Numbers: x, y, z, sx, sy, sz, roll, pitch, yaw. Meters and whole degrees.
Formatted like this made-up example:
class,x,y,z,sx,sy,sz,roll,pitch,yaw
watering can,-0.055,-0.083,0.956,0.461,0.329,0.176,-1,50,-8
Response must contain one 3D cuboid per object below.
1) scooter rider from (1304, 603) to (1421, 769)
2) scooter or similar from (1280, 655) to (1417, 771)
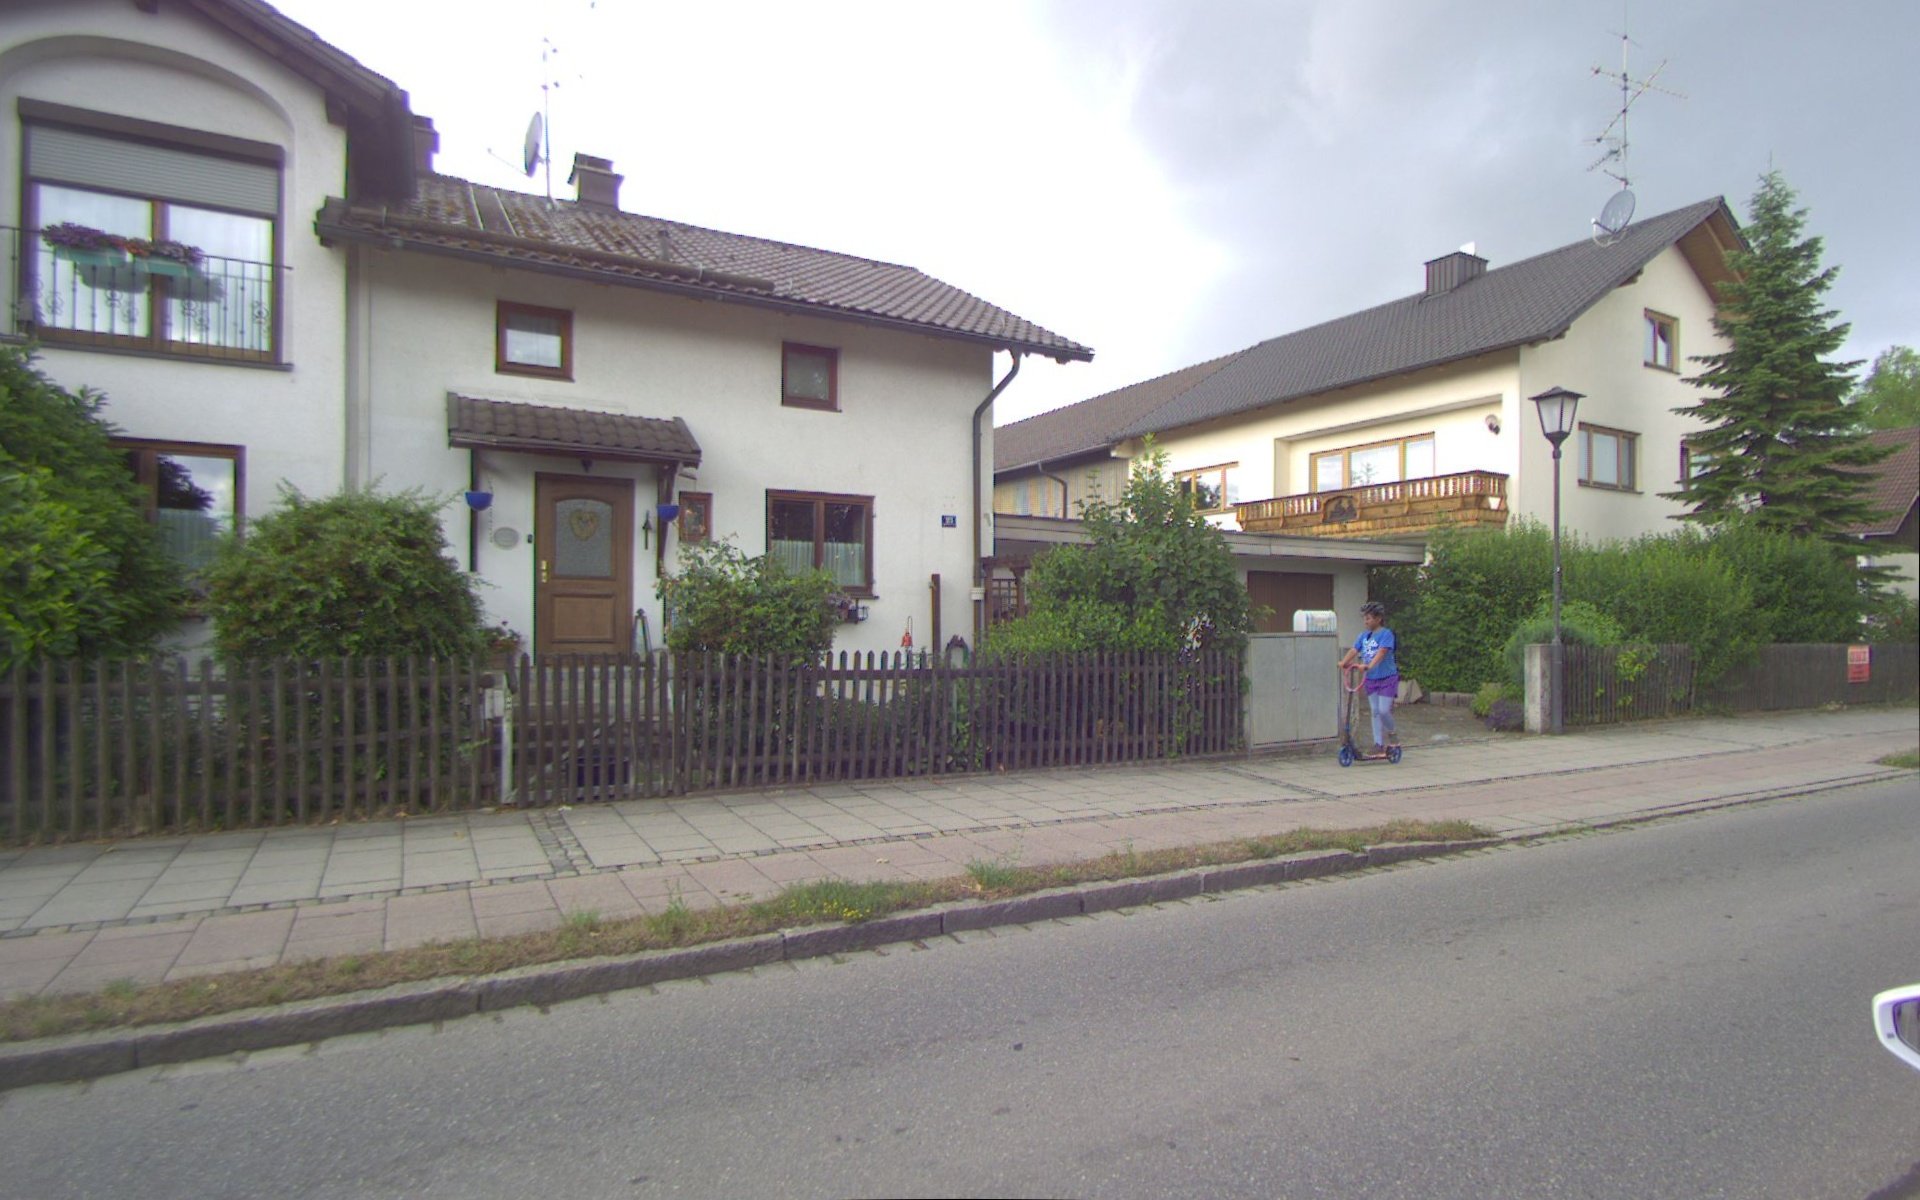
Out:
class,x,y,z,sx,sy,sz,roll,pitch,yaw
scooter rider,3.977,0.817,9.947,0.791,1.545,0.690,1,1,-29
scooter or similar,3.821,1.077,9.878,1.164,1.051,0.658,1,-1,-29
